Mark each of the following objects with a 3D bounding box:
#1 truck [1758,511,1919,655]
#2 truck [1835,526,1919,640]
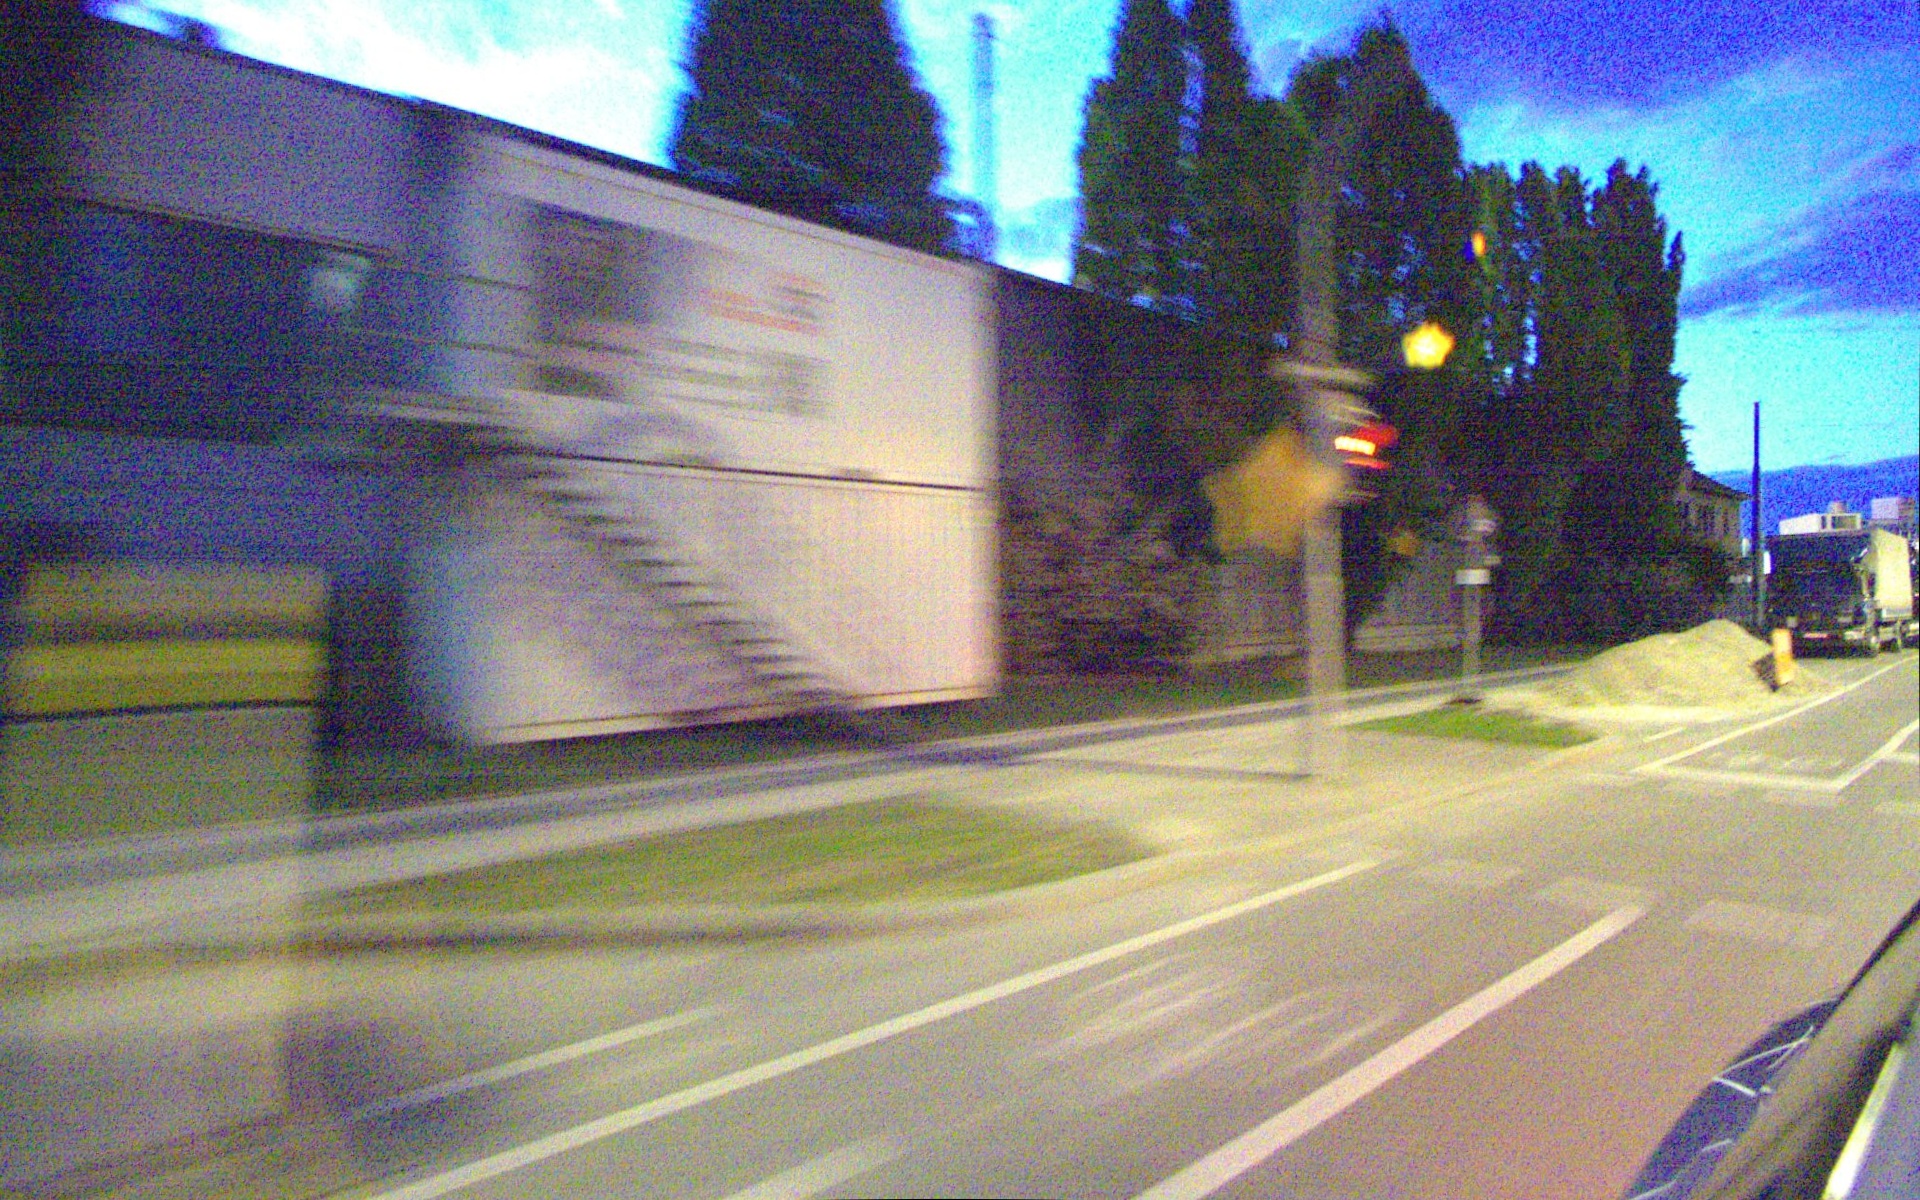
[{"bbox_3d":[27.642,-0.487,31.319,10.046,3.831,2.760,-1,0,-41],"label":"truck"},{"bbox_3d":[35.100,-0.597,37.435,8.976,3.831,2.760,-1,0,-40],"label":"truck"}]
